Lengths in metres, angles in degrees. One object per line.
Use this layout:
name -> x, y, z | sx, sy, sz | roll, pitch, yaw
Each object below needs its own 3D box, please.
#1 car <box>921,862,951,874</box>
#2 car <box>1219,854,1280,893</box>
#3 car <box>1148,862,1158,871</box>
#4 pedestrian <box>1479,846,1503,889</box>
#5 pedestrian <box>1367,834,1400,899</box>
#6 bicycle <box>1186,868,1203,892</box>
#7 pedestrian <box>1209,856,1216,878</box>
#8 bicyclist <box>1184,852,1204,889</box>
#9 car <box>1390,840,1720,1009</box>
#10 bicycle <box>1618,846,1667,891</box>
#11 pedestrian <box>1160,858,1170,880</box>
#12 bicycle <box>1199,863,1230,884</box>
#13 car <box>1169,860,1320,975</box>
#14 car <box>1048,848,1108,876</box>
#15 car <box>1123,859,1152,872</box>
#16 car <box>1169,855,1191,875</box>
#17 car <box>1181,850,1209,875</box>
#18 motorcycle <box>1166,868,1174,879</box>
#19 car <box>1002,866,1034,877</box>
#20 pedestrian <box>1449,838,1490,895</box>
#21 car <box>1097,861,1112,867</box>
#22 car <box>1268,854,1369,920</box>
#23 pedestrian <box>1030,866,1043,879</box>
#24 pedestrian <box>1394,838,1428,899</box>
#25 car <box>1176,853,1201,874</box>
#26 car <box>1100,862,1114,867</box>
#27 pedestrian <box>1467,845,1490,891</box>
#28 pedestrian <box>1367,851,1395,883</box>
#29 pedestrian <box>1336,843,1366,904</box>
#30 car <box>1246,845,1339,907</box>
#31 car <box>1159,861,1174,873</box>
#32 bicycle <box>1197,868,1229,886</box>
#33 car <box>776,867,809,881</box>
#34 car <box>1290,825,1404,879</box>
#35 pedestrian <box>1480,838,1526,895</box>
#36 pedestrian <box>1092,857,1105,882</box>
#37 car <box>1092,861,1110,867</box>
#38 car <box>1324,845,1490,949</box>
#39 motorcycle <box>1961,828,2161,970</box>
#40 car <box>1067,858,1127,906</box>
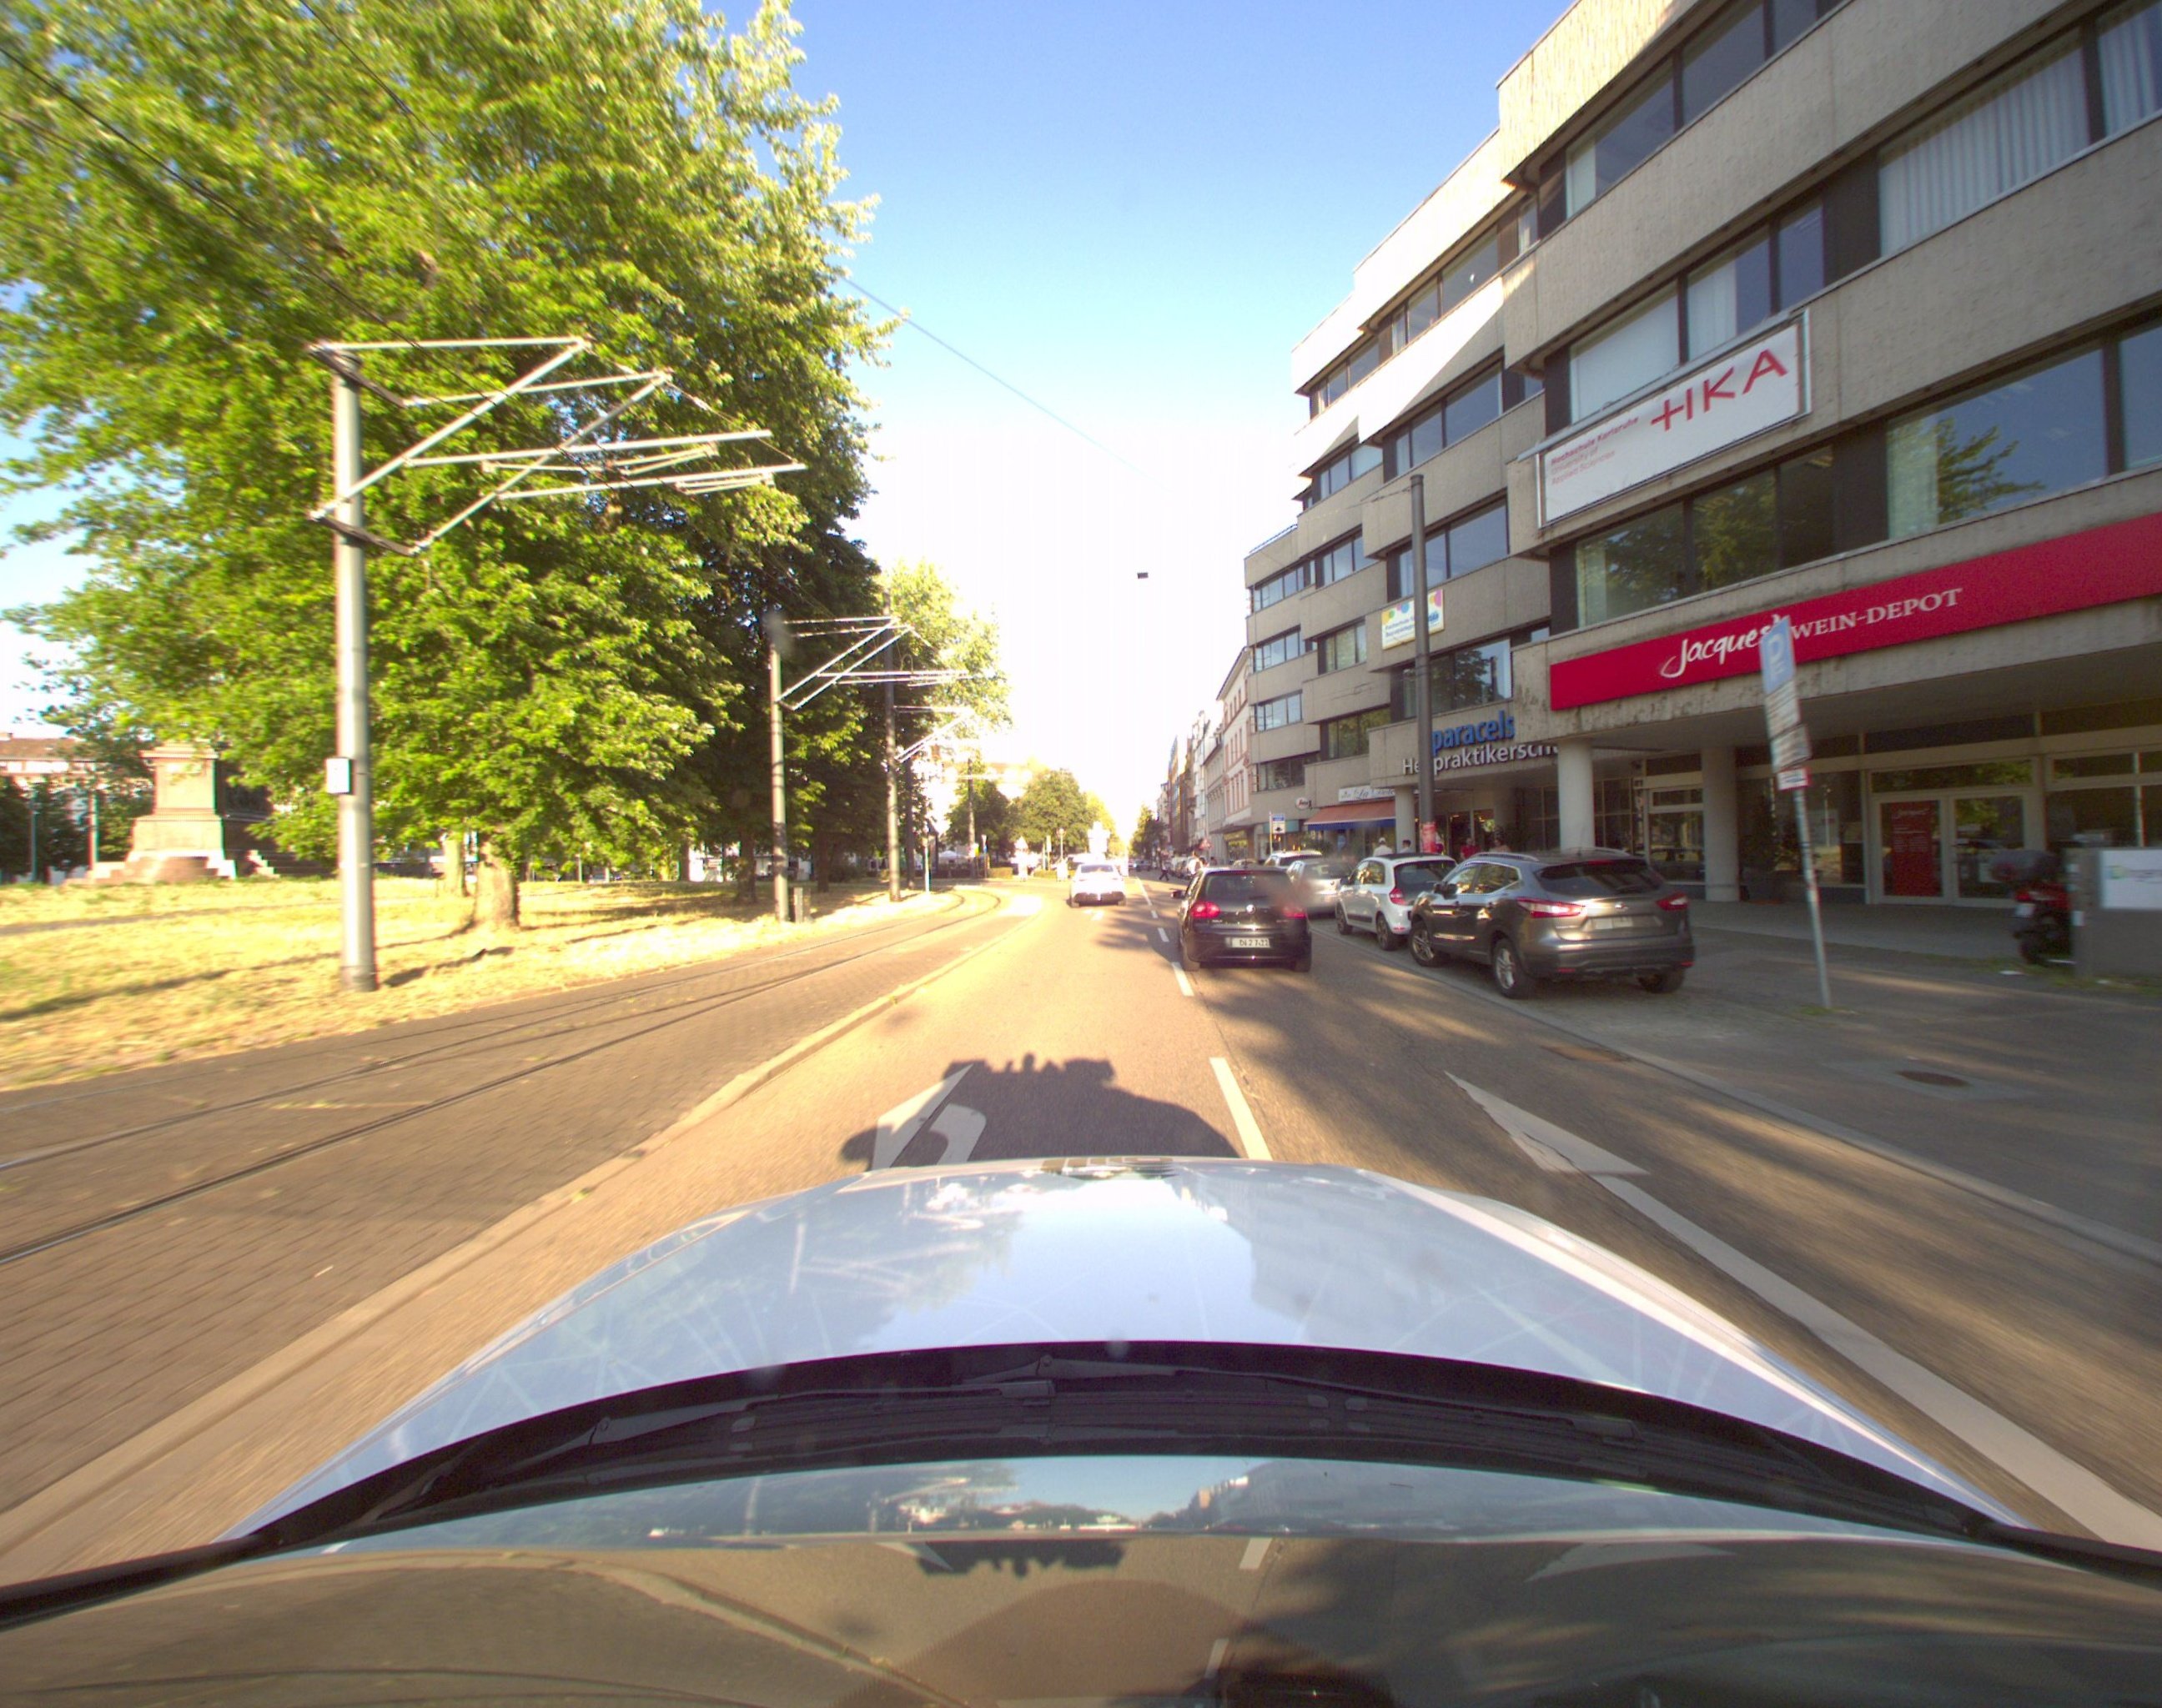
car -> -18.870, 1.833, 106.182 | 3.625, 1.552, 1.651 | -1, -1, -20
car -> 7.062, 0.794, 34.521 | 1.657, 1.441, 3.821 | -4, -1, -1
car -> 13.609, 2.399, 154.198 | 1.745, 1.511, 3.546 | -3, -1, 2
pedestrian -> 15.719, 0.505, 31.219 | 0.599, 1.649, 0.518 | 0, -1, -21
pedestrian -> 8.941, 0.371, 24.072 | 0.619, 1.858, 0.662 | -4, -1, 4
bicycle -> 5.052, 1.138, 36.172 | 0.576, 0.987, 1.937 | 0, -1, 3
pedestrian -> 9.743, 0.953, 60.401 | 0.500, 1.625, 0.497 | 0, -1, 3
bicyclist -> 5.024, 0.716, 36.142 | 0.774, 1.618, 1.026 | 0, -1, 3
car -> 5.483, 0.711, 10.173 | 1.774, 1.556, 4.238 | -4, -1, 4
bicycle -> 14.786, 0.375, 21.432 | 1.767, 1.072, 0.478 | -3, 0, -37
pedestrian -> 6.100, 1.110, 59.195 | 0.733, 1.555, 0.632 | -1, -1, 3
bicycle -> 7.718, 1.109, 46.959 | 1.586, 1.119, 0.616 | -4, 0, 36
car -> 2.329, 0.840, 12.554 | 1.740, 1.461, 4.107 | -1, -1, 4
car -> -0.291, 0.771, 80.632 | 5.536, 2.595, 2.138 | -1, -1, -24
car -> 8.255, 1.638, 118.404 | 4.023, 1.772, 1.975 | -1, 0, -44
car -> 9.786, 1.116, 80.601 | 1.916, 1.841, 4.022 | -3, -1, 4
car -> 8.772, 0.661, 62.919 | 1.727, 1.800, 3.919 | -3, -1, 3
motorcycle -> 9.821, 2.106, 89.779 | 0.486, 1.174, 1.605 | -4, 0, -4
car -> -8.508, 2.366, 110.405 | 4.000, 1.301, 1.840 | -1, -1, -20
pedestrian -> 11.977, 0.378, 25.090 | 1.037, 1.727, 0.691 | -2, -1, -37
car -> 5.781, 2.498, 201.834 | 3.381, 1.287, 1.665 | 0, 0, -13
car -> 6.014, 0.785, 21.059 | 1.654, 1.441, 3.859 | -4, -1, 4
pedestrian -> -4.433, 1.866, 81.358 | 1.102, 1.226, 0.853 | 0, -1, -23
pedestrian -> 9.722, 0.433, 24.004 | 0.619, 1.740, 0.662 | -4, -1, 4
car -> 8.910, 0.777, 67.724 | 1.727, 1.617, 3.919 | -3, -1, 3
car -> 6.752, 2.631, 209.540 | 3.381, 1.287, 1.665 | 0, 0, -13
pedestrian -> 15.498, 0.538, 31.777 | 0.599, 1.760, 0.518 | 0, -1, -21
pedestrian -> 12.407, 0.553, 33.665 | 0.770, 1.281, 0.656 | -3, -1, -26
pedestrian -> 8.031, 0.571, 24.223 | 0.576, 1.760, 0.662 | -4, -1, 4
car -> 6.803, 0.677, 26.643 | 1.861, 1.713, 4.506 | -4, -1, 1
car -> 11.178, 1.704, 106.550 | 1.745, 1.511, 3.546 | -3, -1, 2
bicycle -> 8.253, 1.430, 51.101 | 1.828, 1.045, 0.584 | -4, 0, 33
car -> -35.033, 2.447, 98.945 | 3.625, 1.552, 1.651 | -1, -1, -20
car -> 13.532, -0.100, 41.387 | 5.339, 2.442, 2.076 | -3, -1, -23
pedestrian -> 12.695, 0.370, 24.507 | 0.644, 1.673, 0.981 | -2, -1, -37
pedestrian -> 1.199, 1.048, 56.198 | 0.857, 1.706, 0.940 | 0, -1, -3
car -> 4.175, 2.077, 170.673 | 3.381, 1.287, 1.665 | 0, 0, -13
car -> 5.766, 0.698, 14.851 | 1.601, 1.556, 3.612 | -4, -1, 2
motorcycle -> 10.277, 0.441, 8.489 | 1.782, 1.331, 0.581 | -3, -1, -10
car -> 0.594, 0.956, 28.364 | 1.858, 1.441, 4.198 | -3, -2, 2
